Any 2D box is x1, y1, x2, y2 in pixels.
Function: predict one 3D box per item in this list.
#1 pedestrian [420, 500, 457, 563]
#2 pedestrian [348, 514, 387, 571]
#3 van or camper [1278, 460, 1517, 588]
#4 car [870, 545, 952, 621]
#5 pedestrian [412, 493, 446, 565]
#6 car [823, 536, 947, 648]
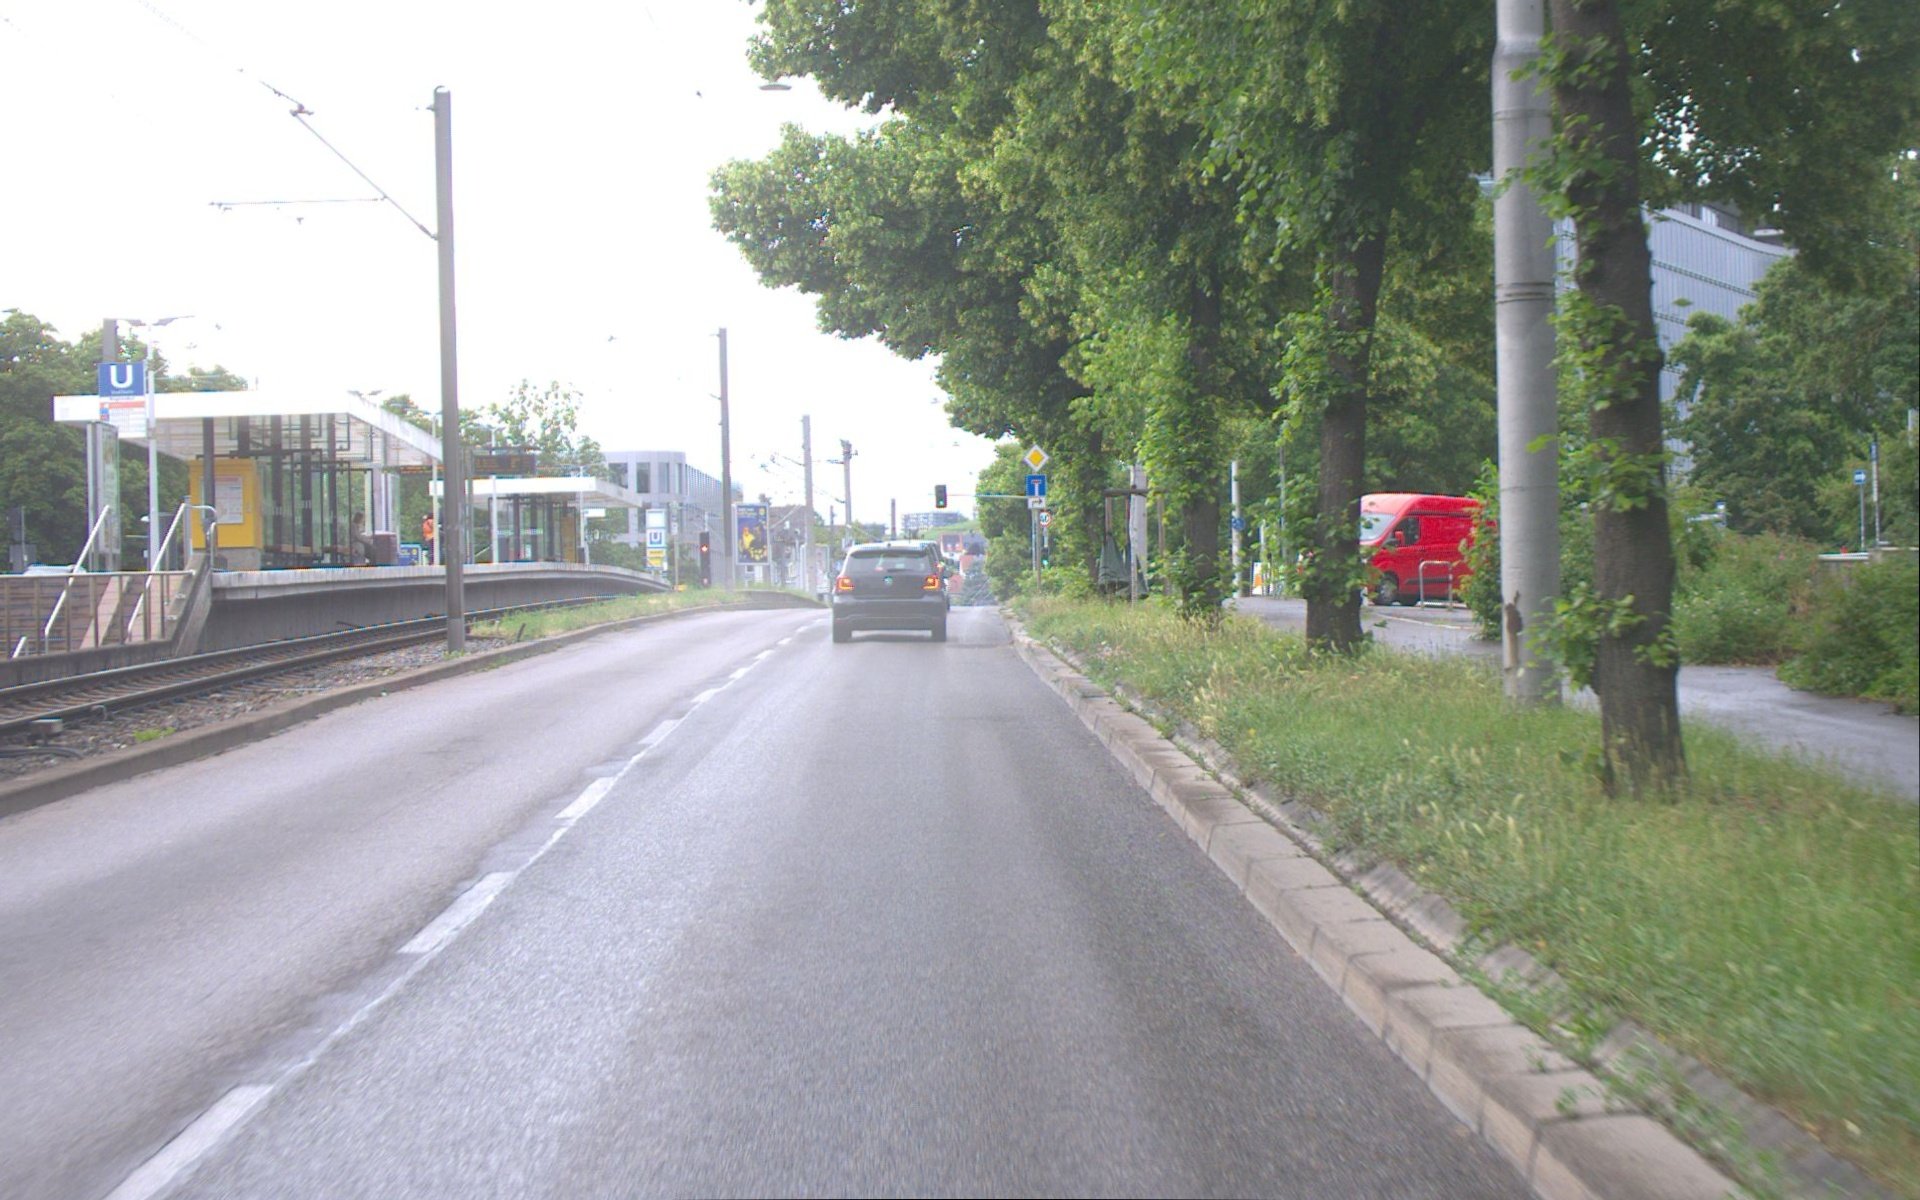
[{"bbox_3d":[-13.816,-1.825,91.125,0.794,1.641,0.919,0,2,-21],"label":"pedestrian"},{"bbox_3d":[-12.615,-1.226,73.249,0.710,1.221,0.619,-1,1,0],"label":"pedestrian"},{"bbox_3d":[9.090,-1.546,71.074,2.040,2.398,5.378,4,2,43],"label":"van or camper"},{"bbox_3d":[-1.029,-0.377,73.733,1.687,1.512,4.000,-1,1,0],"label":"car"},{"bbox_3d":[-14.187,-1.895,91.889,0.743,1.903,0.842,0,2,-20],"label":"pedestrian"},{"bbox_3d":[-1.108,-0.153,50.831,1.726,1.535,4.001,-1,1,-1],"label":"car"}]
